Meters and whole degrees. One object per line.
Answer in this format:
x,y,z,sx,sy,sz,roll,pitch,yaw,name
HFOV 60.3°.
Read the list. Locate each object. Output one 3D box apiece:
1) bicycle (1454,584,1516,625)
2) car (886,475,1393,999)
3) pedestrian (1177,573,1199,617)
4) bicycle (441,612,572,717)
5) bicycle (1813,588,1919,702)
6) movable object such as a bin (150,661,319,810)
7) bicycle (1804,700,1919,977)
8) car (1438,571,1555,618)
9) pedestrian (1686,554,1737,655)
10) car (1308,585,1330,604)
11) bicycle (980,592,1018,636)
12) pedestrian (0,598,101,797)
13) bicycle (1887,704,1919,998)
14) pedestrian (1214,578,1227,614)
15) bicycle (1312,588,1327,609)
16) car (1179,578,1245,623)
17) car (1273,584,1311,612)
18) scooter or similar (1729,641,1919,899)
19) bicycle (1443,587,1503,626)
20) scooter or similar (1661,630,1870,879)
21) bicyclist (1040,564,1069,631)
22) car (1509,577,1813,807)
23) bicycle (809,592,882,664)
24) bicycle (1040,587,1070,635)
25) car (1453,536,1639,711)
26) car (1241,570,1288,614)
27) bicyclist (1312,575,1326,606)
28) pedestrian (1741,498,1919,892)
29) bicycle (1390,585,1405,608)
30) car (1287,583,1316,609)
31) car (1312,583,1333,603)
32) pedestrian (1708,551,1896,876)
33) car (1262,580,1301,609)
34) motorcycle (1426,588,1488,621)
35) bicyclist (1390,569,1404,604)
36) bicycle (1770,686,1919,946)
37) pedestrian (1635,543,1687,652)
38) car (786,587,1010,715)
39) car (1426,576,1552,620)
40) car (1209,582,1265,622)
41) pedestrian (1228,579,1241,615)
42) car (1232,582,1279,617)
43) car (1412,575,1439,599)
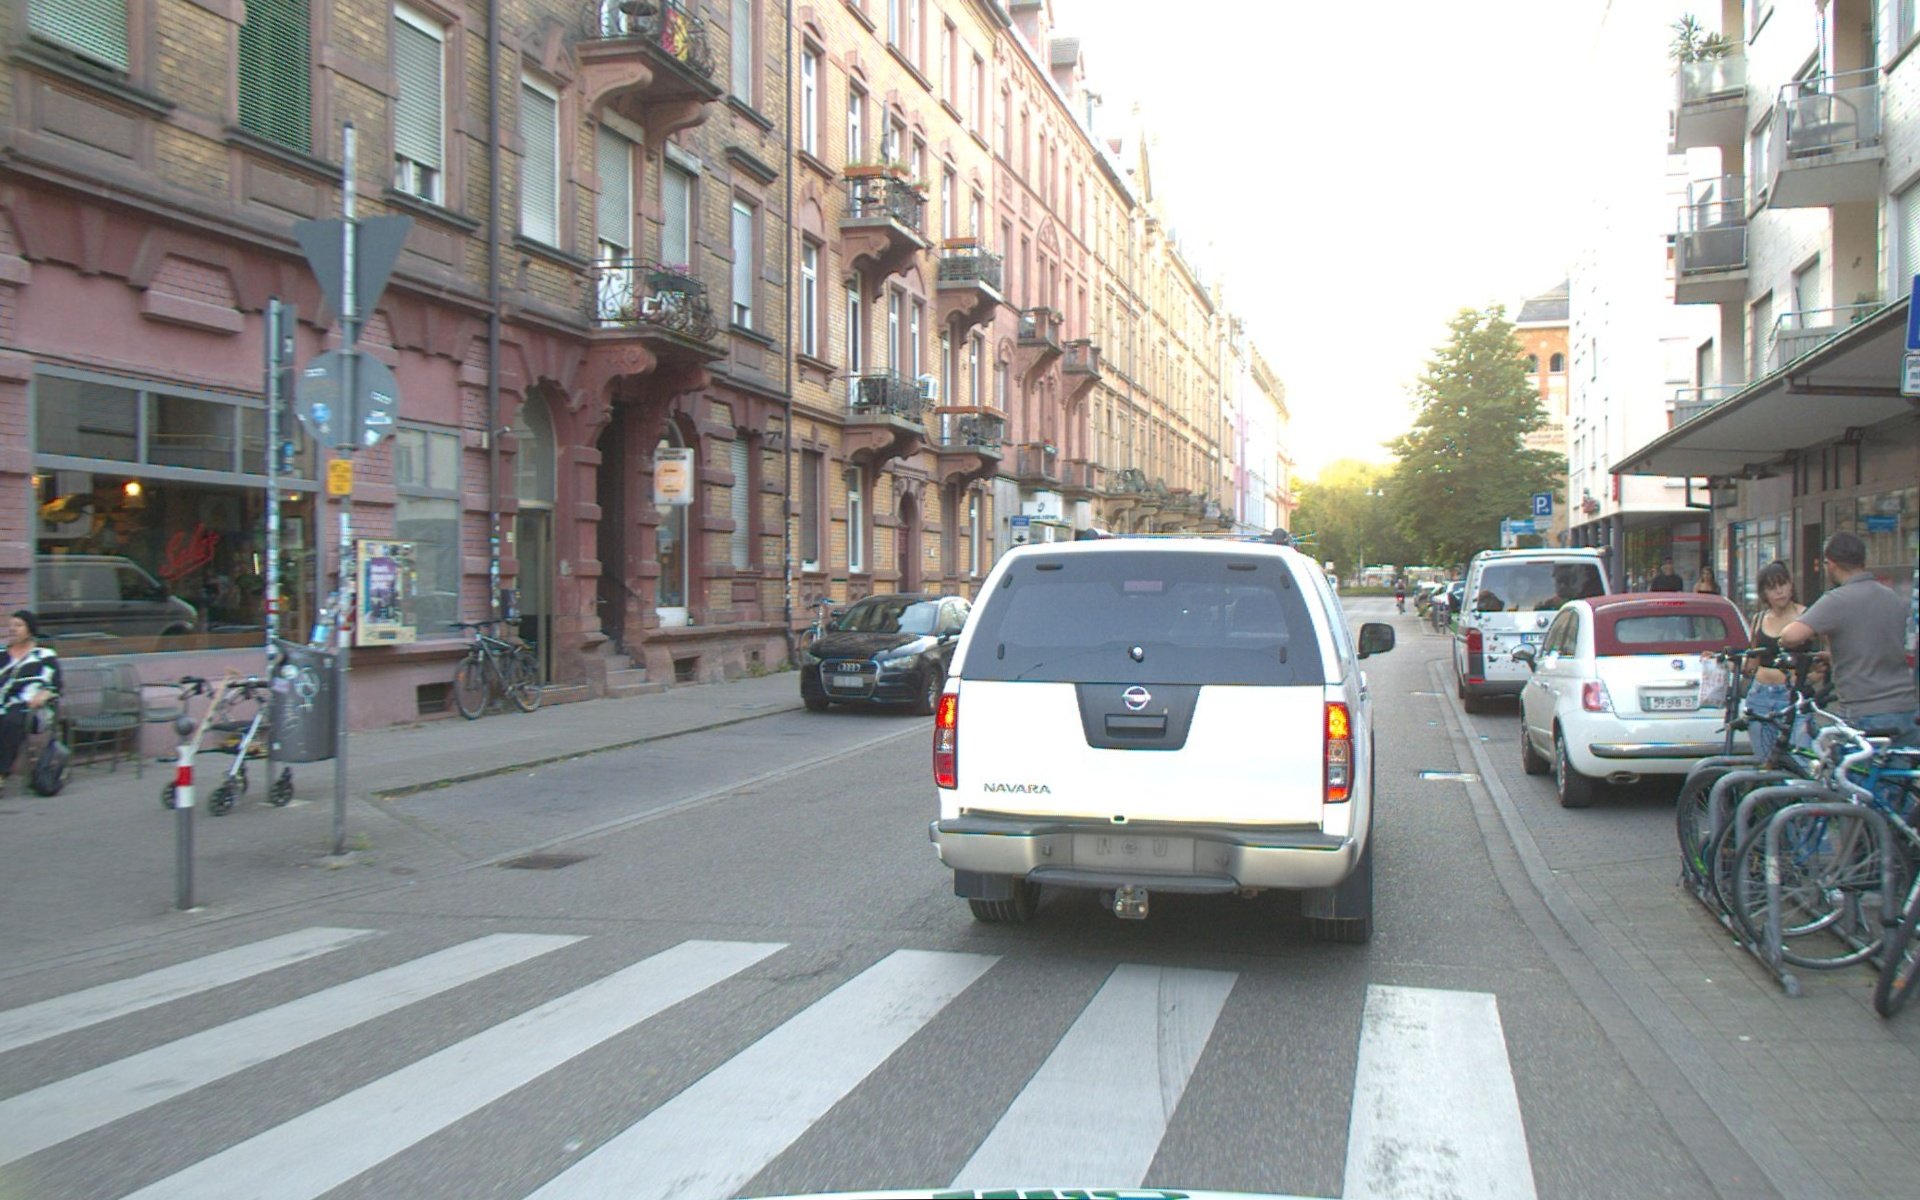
17.115,0.142,53.901,1.753,1.203,0.733,-4,-2,26,bicycle
1.267,0.470,8.775,1.870,1.885,5.274,1,1,14,car
9.341,-0.182,67.749,0.544,1.786,1.020,0,-1,32,pedestrian
-5.022,0.686,18.440,0.416,1.071,1.899,0,1,18,bicycle
10.619,0.491,18.862,0.891,1.216,1.711,-2,-1,2,bicycle
-4.892,0.898,11.184,0.745,0.932,0.730,1,-1,12,movable object such as a bin
4.057,0.888,6.294,1.387,1.001,0.511,-2,-1,12,bicycle
21.351,-0.224,65.976,4.305,1.676,1.748,-2,0,15,car
12.976,0.084,28.550,0.695,1.695,0.743,-2,-1,31,pedestrian
28.805,-0.479,132.585,1.662,1.451,4.025,2,1,13,car
0.970,0.334,41.019,0.440,1.040,1.849,3,1,16,bicycle
-6.572,0.654,11.545,0.634,1.276,0.908,3,1,0,pedestrian
4.095,0.865,5.636,1.514,1.019,0.511,-2,-1,12,bicycle
13.532,-0.196,85.851,0.567,1.802,0.998,3,2,11,pedestrian
19.467,-0.062,89.569,0.631,1.100,2.170,-2,0,9,bicycle
8.665,-0.011,56.658,1.721,1.436,4.512,1,1,15,car
19.255,-0.116,95.893,1.795,1.483,4.210,3,1,15,car
4.480,0.821,8.140,1.135,1.191,0.538,-2,2,8,scooter or similar
15.865,0.211,51.183,1.685,1.137,0.707,-2,-1,14,bicycle
4.373,0.797,8.964,1.151,1.191,0.530,-3,2,-36,scooter or similar
2.515,-0.065,43.930,0.693,1.760,0.843,1,-1,0,bicyclist
5.300,0.622,12.903,1.558,1.527,3.426,-2,0,13,car
-1.998,0.469,29.149,0.516,1.191,2.048,2,1,18,bicycle
2.508,0.291,43.898,0.693,1.217,1.741,1,0,0,bicycle
7.620,0.250,21.923,1.917,2.008,5.006,-2,0,16,car
14.432,-0.383,78.163,1.951,1.957,4.956,2,1,13,car
19.450,-0.521,89.582,0.631,1.649,0.919,-2,0,9,bicyclist
4.304,0.427,7.933,0.722,1.787,0.662,-2,0,-10,pedestrian
22.222,-0.191,84.026,0.631,1.100,1.834,-2,0,13,bicycle
21.722,-0.256,105.115,1.601,1.593,3.784,1,1,14,car
30.294,-0.614,138.331,1.662,1.579,4.025,2,1,13,car
4.447,0.572,8.750,0.637,1.628,0.587,-2,0,-25,pedestrian
16.990,-0.258,87.324,1.700,1.443,4.782,2,0,15,car
17.962,0.173,59.790,2.015,1.097,0.664,-2,-1,0,motorcycle
22.216,-0.681,84.045,0.631,1.791,0.648,-2,0,13,bicyclist
4.165,0.871,6.779,1.448,1.019,0.510,-2,-1,22,bicycle
12.280,-0.033,28.968,0.695,1.860,0.859,-2,-1,29,pedestrian
-0.696,0.578,21.323,1.658,1.445,3.856,1,1,18,car
20.235,-0.073,63.417,4.328,1.481,1.781,-2,0,9,car
11.003,0.064,65.576,1.681,1.483,4.003,2,1,16,car
14.286,-0.148,86.038,0.592,1.803,0.778,3,2,11,pedestrian
13.026,-0.047,72.855,1.746,1.447,4.489,2,1,13,car
31.403,-0.871,111.540,1.641,1.527,3.903,-3,0,17,car
